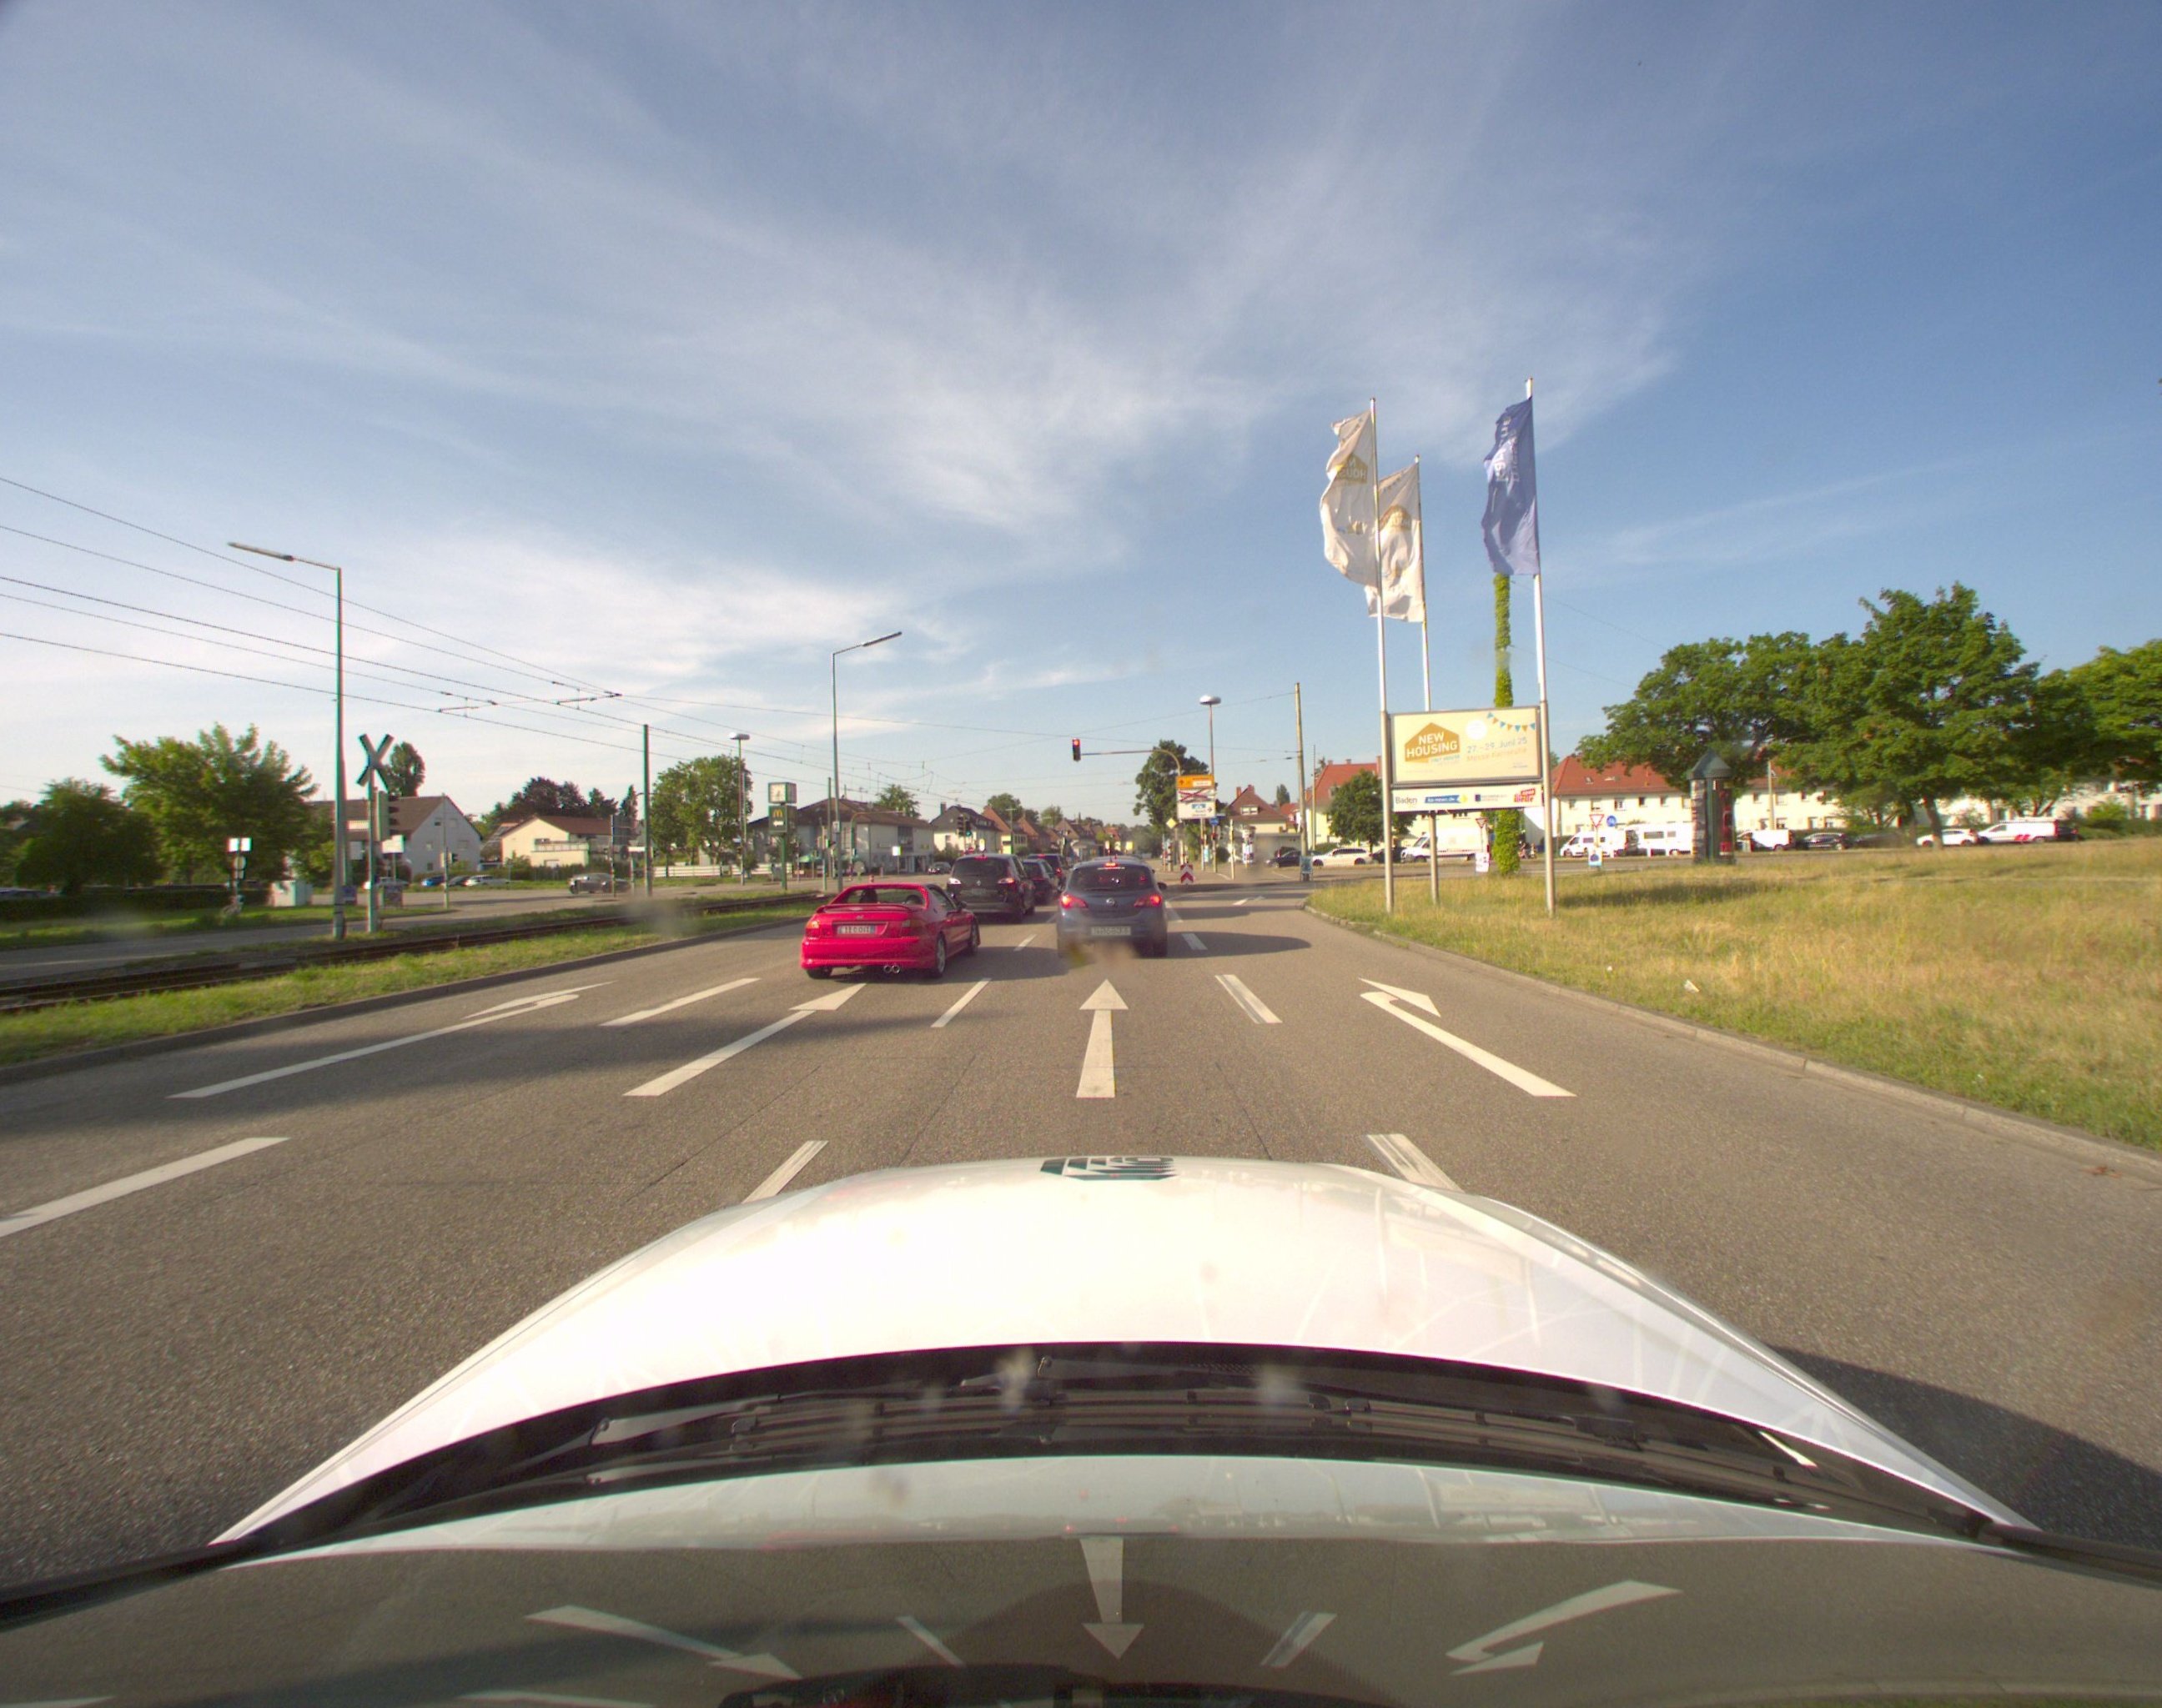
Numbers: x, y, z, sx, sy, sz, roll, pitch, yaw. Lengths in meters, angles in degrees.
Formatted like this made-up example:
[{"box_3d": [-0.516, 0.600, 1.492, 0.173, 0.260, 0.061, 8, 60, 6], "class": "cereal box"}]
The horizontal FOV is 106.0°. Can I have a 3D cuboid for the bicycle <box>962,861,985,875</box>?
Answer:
[{"box_3d": [-10.007, 1.310, 75.787, 2.070, 1.348, 1.107, 0, -1, -5], "class": "bicycle"}]

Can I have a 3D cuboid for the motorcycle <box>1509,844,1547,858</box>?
[{"box_3d": [31.210, -0.225, 56.874, 2.261, 0.866, 0.691, -2, 0, 4], "class": "motorcycle"}]

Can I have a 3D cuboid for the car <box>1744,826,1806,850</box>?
[{"box_3d": [61.538, -1.414, 72.230, 1.906, 1.920, 3.862, -2, -1, -41], "class": "car"}]

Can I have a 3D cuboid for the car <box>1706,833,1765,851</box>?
[{"box_3d": [58.266, -1.068, 72.577, 1.907, 1.456, 3.861, -2, -1, -44], "class": "car"}]

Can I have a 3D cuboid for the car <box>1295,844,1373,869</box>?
[{"box_3d": [18.160, 0.181, 58.685, 5.069, 1.563, 1.843, -2, 0, 5], "class": "car"}]

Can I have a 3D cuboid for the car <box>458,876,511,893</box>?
[{"box_3d": [-63.362, 3.220, 86.614, 1.980, 1.684, 4.233, -1, -1, 11], "class": "car"}]

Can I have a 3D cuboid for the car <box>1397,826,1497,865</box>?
[{"box_3d": [26.036, -0.597, 58.107, 6.178, 2.583, 2.003, -2, 0, 5], "class": "car"}]

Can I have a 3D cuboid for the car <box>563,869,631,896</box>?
[{"box_3d": [-34.330, 2.004, 57.843, 3.966, 1.793, 1.522, -2, 0, 6], "class": "car"}]

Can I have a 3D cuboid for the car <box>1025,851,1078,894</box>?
[{"box_3d": [-1.161, 0.725, 34.653, 1.499, 1.651, 4.752, -2, 0, 6], "class": "car"}]

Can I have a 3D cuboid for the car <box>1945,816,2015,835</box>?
[{"box_3d": [93.803, -2.902, 85.072, 1.984, 1.719, 4.986, -2, 0, 5], "class": "car"}]

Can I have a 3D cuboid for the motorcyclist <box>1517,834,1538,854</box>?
[{"box_3d": [31.190, -0.687, 56.873, 1.061, 1.352, 0.680, -2, 0, 4], "class": "motorcyclist"}]

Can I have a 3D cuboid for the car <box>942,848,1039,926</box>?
[{"box_3d": [-2.110, 0.733, 20.036, 1.757, 1.670, 4.086, -1, 0, 2], "class": "car"}]

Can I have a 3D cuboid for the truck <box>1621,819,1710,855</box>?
[{"box_3d": [51.901, -1.458, 72.433, 1.906, 2.854, 6.006, -2, -1, -41], "class": "truck"}]

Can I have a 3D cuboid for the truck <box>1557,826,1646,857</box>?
[{"box_3d": [46.005, -1.061, 72.143, 2.284, 2.524, 6.297, -2, 0, -30], "class": "truck"}]

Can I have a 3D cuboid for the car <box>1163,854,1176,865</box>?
[{"box_3d": [11.706, 0.715, 107.511, 1.666, 1.398, 4.006, 0, -1, 6], "class": "car"}]

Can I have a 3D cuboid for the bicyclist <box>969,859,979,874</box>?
[{"box_3d": [-9.961, 1.155, 75.786, 0.882, 1.431, 1.135, 0, -1, -4], "class": "bicyclist"}]

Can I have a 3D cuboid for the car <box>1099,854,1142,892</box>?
[{"box_3d": [1.664, 0.768, 34.118, 1.649, 1.443, 4.017, -2, 0, 3], "class": "car"}]

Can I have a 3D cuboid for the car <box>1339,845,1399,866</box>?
[{"box_3d": [21.859, 0.094, 61.825, 3.967, 1.453, 1.718, -2, 0, 5], "class": "car"}]

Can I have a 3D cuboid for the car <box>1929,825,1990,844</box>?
[{"box_3d": [75.628, -1.669, 70.147, 1.905, 1.514, 3.394, -2, -1, -37], "class": "car"}]

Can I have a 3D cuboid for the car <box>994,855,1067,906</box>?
[{"box_3d": [-1.594, 0.821, 27.402, 1.691, 1.508, 4.561, -1, 0, 6], "class": "car"}]

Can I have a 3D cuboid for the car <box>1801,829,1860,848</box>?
[{"box_3d": [65.429, -1.372, 71.087, 1.905, 1.514, 3.460, -2, -1, -37], "class": "car"}]

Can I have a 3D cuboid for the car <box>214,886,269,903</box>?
[{"box_3d": [-84.504, 4.047, 81.981, 3.960, 1.486, 2.007, -2, 0, 12], "class": "car"}]

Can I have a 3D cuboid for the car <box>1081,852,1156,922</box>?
[{"box_3d": [0.957, 0.774, 21.009, 1.699, 1.552, 3.980, -2, 0, 2], "class": "car"}]

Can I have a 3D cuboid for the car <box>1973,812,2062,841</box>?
[{"box_3d": [81.136, -2.355, 70.651, 2.011, 2.232, 4.920, -2, -1, -41], "class": "car"}]

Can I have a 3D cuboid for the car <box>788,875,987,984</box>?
[{"box_3d": [-2.541, 0.950, 11.661, 1.724, 1.206, 3.850, 0, 0, 3], "class": "car"}]

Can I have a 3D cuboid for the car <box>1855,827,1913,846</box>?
[{"box_3d": [70.994, -1.527, 72.028, 1.905, 1.514, 3.394, -2, -1, -37], "class": "car"}]

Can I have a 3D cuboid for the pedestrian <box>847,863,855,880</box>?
[{"box_3d": [-21.764, 1.648, 77.112, 0.510, 1.599, 0.540, -2, 0, 2], "class": "pedestrian"}]

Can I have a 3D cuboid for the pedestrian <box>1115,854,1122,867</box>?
[{"box_3d": [4.345, 0.732, 95.475, 0.749, 1.499, 0.829, 0, -1, 7], "class": "pedestrian"}]

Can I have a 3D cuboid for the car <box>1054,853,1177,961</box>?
[{"box_3d": [0.583, 0.769, 13.938, 1.735, 1.505, 4.225, -2, 0, 2], "class": "car"}]

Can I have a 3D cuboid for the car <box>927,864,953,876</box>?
[{"box_3d": [-16.548, 1.865, 95.511, 1.653, 1.346, 4.089, -2, -1, 10], "class": "car"}]

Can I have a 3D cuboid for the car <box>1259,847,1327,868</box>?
[{"box_3d": [16.204, 0.280, 62.453, 4.800, 1.411, 1.718, -2, 0, 5], "class": "car"}]
